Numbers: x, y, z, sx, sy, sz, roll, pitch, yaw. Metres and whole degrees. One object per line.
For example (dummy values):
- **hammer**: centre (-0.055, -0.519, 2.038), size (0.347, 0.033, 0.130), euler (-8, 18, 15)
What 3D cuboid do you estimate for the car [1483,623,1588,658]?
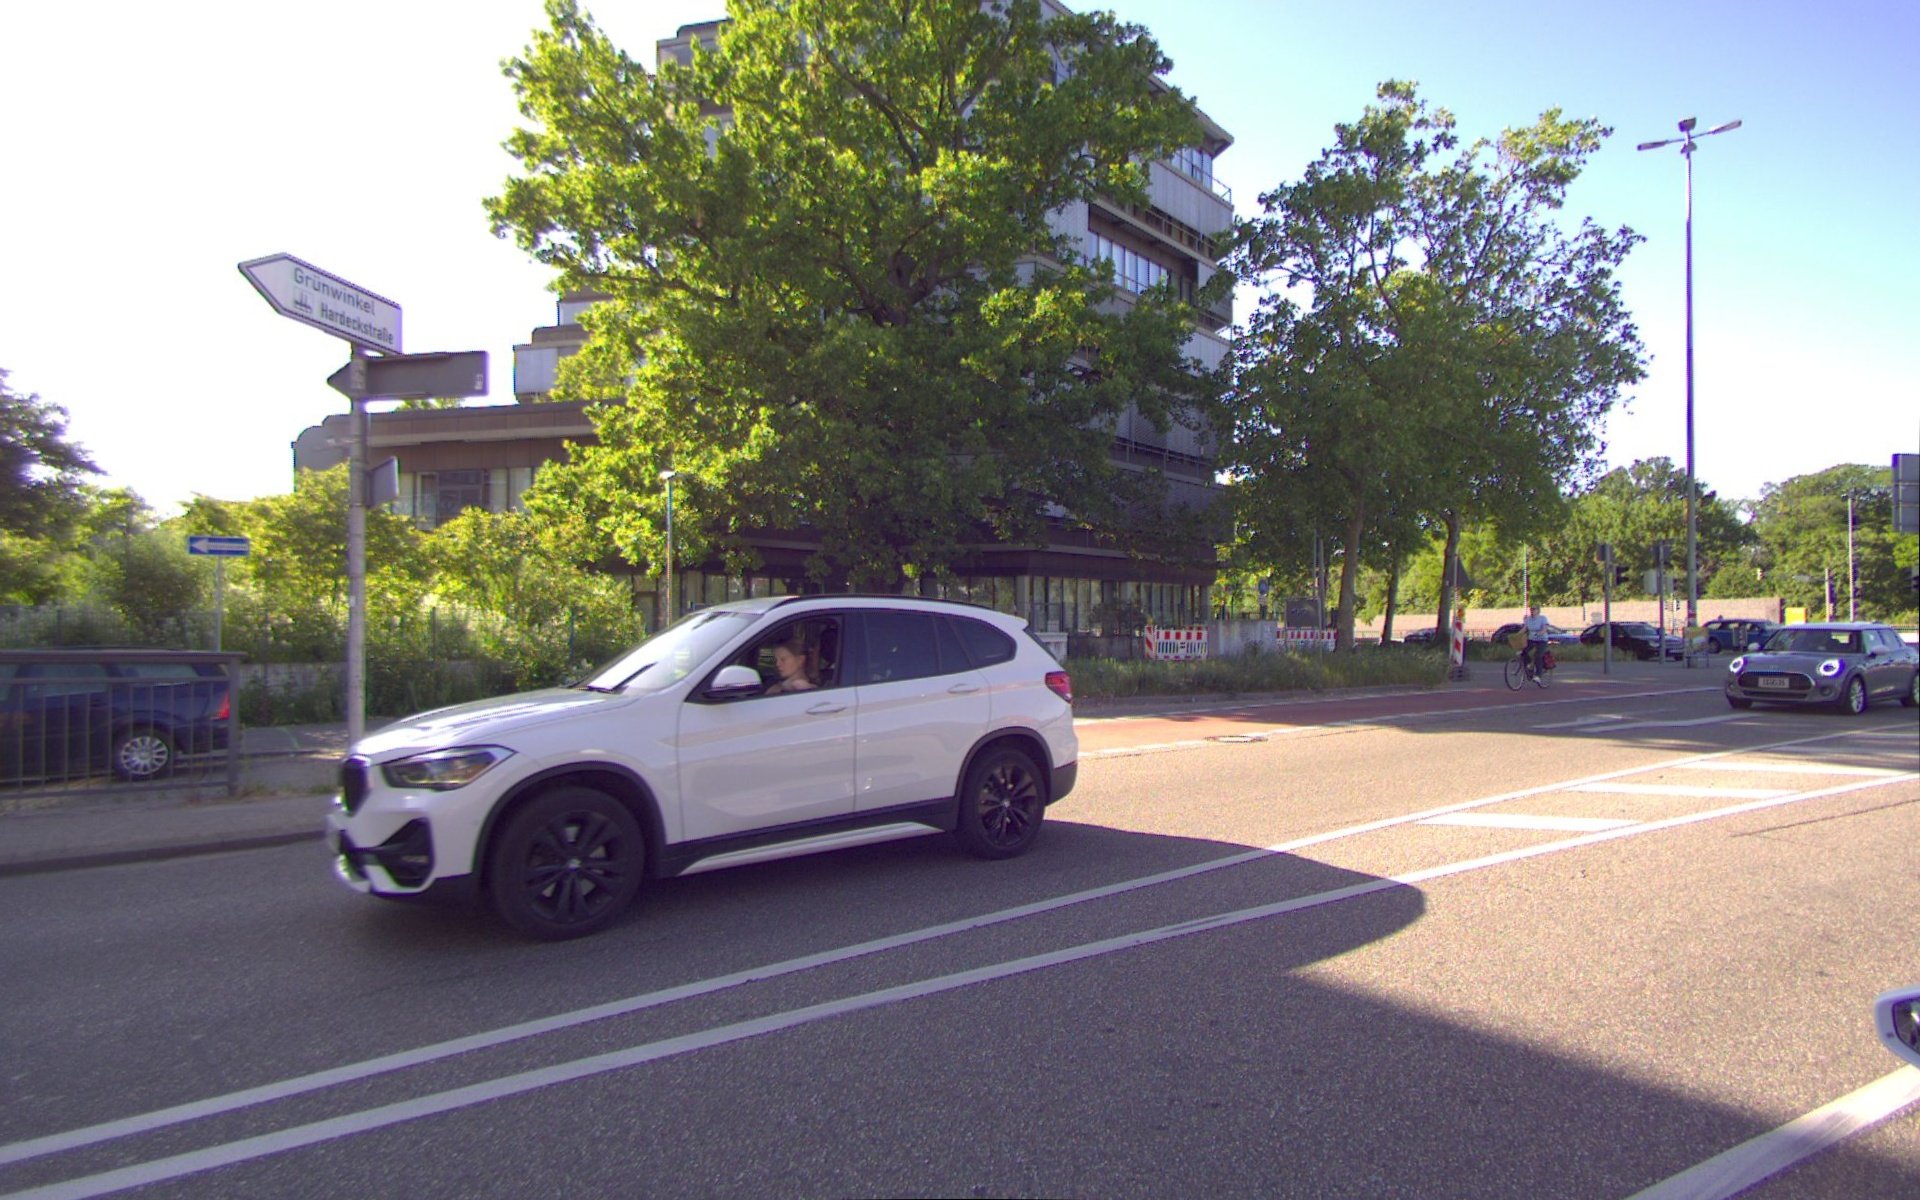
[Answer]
- **car**: centre (25.843, 1.806, 45.274), size (1.792, 1.457, 4.446), euler (0, -2, -7)

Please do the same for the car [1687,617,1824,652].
- **car**: centre (34.225, 1.476, 43.388), size (1.795, 1.457, 4.438), euler (0, -2, -15)

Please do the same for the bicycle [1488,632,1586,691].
- **bicycle**: centre (12.617, 1.318, 21.932), size (2.296, 1.218, 0.685), euler (0, -1, -26)

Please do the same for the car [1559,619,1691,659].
- **car**: centre (25.553, 1.479, 38.792), size (1.792, 1.457, 4.446), euler (0, -2, -7)

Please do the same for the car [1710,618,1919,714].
- **car**: centre (14.691, 1.042, 17.122), size (3.867, 1.476, 1.678), euler (1, -1, -30)

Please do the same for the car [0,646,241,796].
- **car**: centre (-10.784, 1.321, 11.221), size (4.411, 1.523, 1.806), euler (1, -2, -38)

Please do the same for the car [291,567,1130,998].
- **car**: centre (-1.223, 0.750, 6.055), size (4.587, 1.675, 1.820), euler (1, -2, -38)

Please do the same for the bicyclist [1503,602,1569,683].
- **bicyclist**: centre (12.564, 0.920, 21.914), size (1.182, 1.723, 0.685), euler (0, -1, -26)
